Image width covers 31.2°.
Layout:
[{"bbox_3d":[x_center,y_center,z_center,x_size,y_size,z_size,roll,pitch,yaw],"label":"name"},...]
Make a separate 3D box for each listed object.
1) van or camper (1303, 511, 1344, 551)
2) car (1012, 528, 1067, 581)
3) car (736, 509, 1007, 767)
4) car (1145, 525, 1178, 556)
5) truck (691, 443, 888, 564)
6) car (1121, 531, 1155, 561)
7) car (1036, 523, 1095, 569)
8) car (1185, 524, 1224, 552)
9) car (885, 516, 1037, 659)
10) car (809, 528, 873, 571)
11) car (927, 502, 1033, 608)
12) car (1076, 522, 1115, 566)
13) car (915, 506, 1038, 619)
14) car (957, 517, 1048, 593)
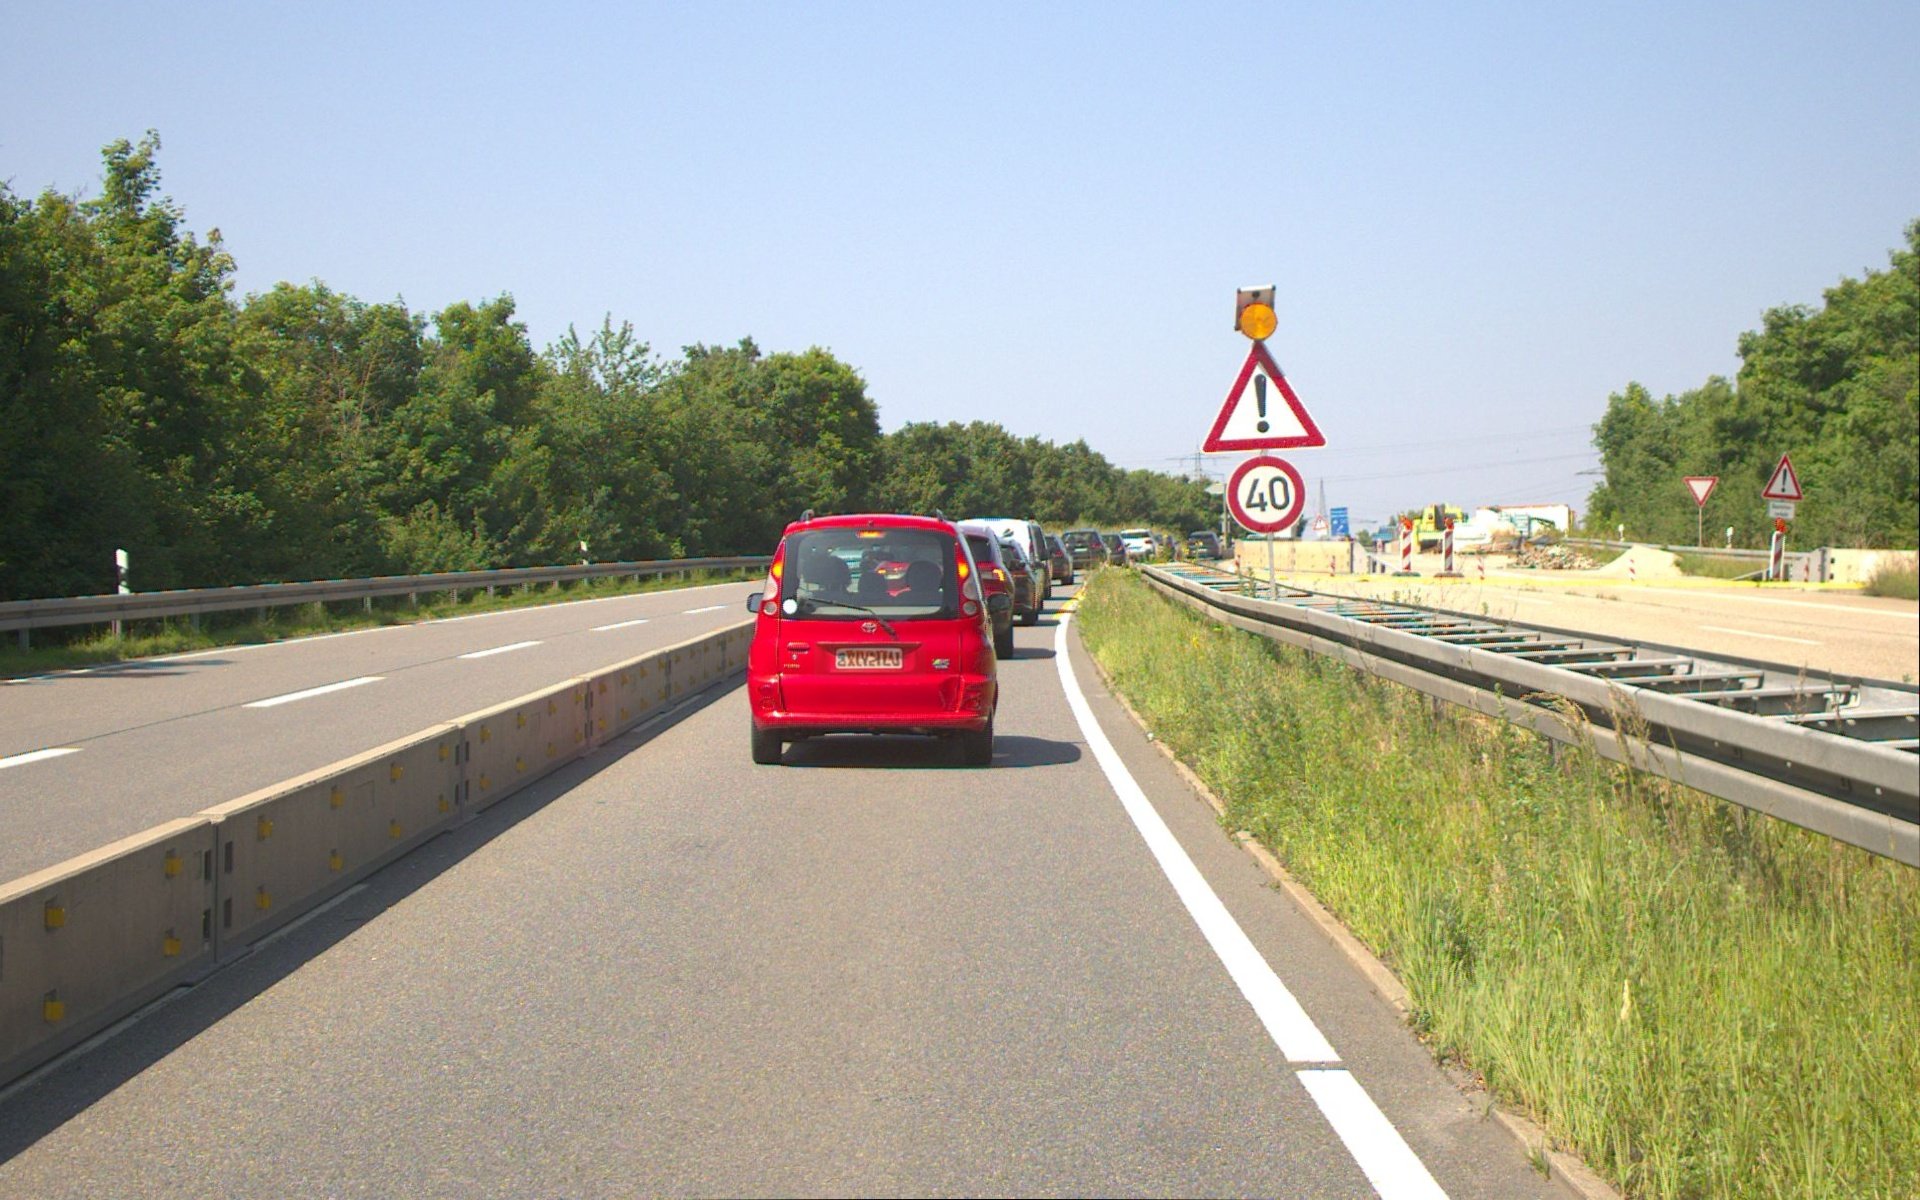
[{"bbox_3d":[25.123,-4.771,237.493,2.328,2.697,4.593,-1,1,0],"label":"van or camper"},{"bbox_3d":[2.248,-1.303,97.049,1.502,1.446,3.325,0,1,2],"label":"car"},{"bbox_3d":[-0.631,0.210,24.279,1.751,1.667,4.000,0,1,-2],"label":"car"},{"bbox_3d":[9.851,-2.908,168.154,1.502,1.446,3.169,-1,1,5],"label":"car"},{"bbox_3d":[-7.843,-4.459,158.888,8.621,5.357,3.389,-1,1,4],"label":"truck"},{"bbox_3d":[7.873,-2.408,152.278,1.421,1.294,2.878,0,1,4],"label":"car"},{"bbox_3d":[3.709,-1.893,120.306,1.994,1.579,4.000,0,1,3],"label":"car"},{"bbox_3d":[13.654,-3.490,192.072,1.993,1.546,4.000,0,1,2],"label":"car"},{"bbox_3d":[0.020,-0.194,43.611,1.830,1.716,4.000,0,1,0],"label":"car"},{"bbox_3d":[-4.074,-1.742,118.124,1.949,1.417,4.353,-1,1,1],"label":"car"},{"bbox_3d":[0.364,-0.888,67.366,1.993,1.997,4.000,1,1,-1],"label":"car"},{"bbox_3d":[5.381,-2.237,136.379,1.502,1.730,3.170,0,1,2],"label":"car"},{"bbox_3d":[0.299,-0.638,57.964,1.993,1.831,4.000,0,1,1],"label":"car"},{"bbox_3d":[0.984,-1.066,80.933,1.993,1.744,4.000,0,1,-1],"label":"car"}]
